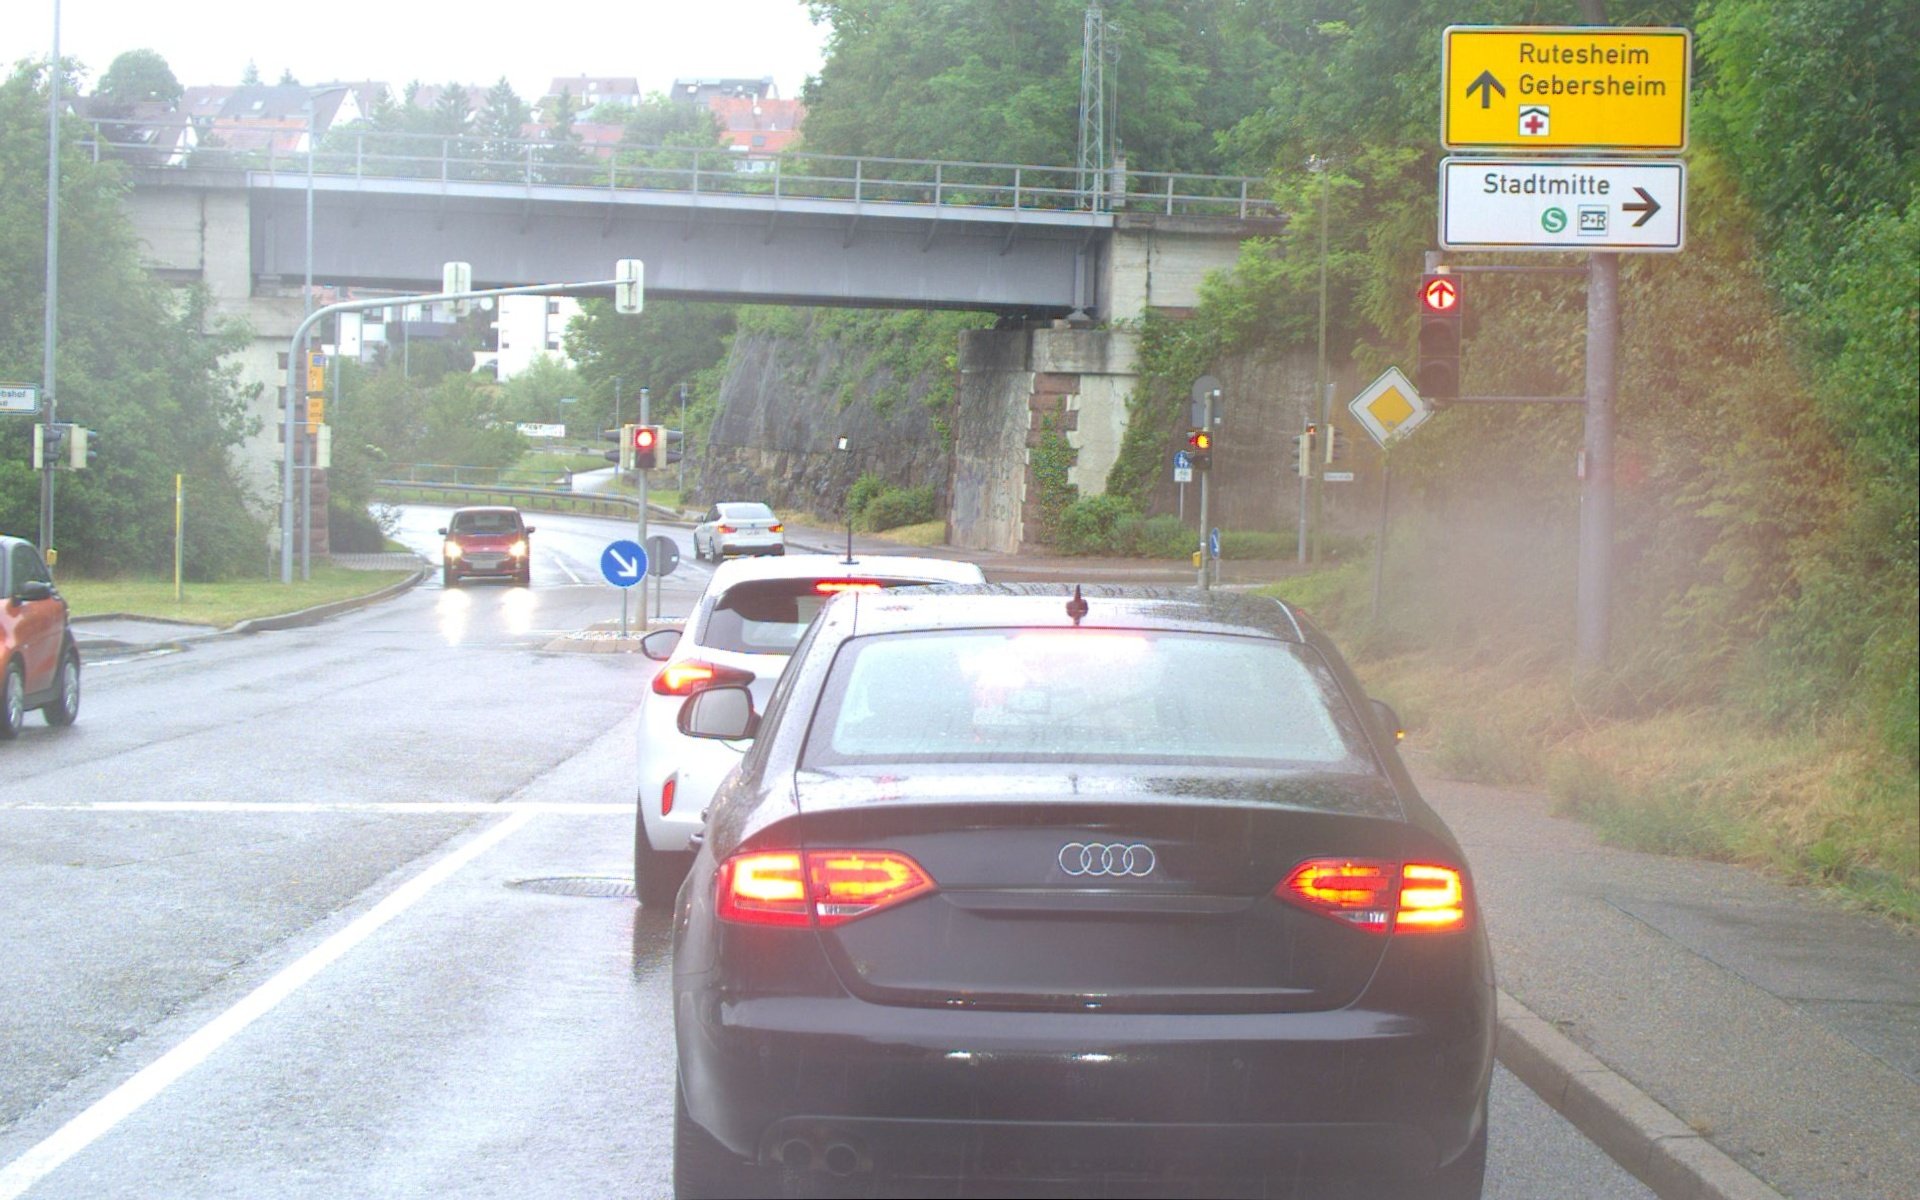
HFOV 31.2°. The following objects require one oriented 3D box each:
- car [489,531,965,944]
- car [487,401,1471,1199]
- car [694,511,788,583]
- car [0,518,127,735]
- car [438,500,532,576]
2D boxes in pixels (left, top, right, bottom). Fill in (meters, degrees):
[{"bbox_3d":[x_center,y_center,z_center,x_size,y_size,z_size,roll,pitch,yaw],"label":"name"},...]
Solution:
[{"bbox_3d":[-0.924,0.528,15.241,1.823,1.579,4.000,0,0,-1],"label":"car"},{"bbox_3d":[0.011,0.432,8.567,1.870,1.611,4.000,0,0,-1],"label":"car"},{"bbox_3d":[-5.578,-1.319,87.141,1.804,1.736,4.481,0,0,-11],"label":"car"},{"bbox_3d":[-8.003,0.185,26.974,1.993,1.579,4.000,0,0,-1],"label":"car"},{"bbox_3d":[-10.485,-1.374,76.024,1.993,1.622,4.001,0,1,-7],"label":"car"}]
